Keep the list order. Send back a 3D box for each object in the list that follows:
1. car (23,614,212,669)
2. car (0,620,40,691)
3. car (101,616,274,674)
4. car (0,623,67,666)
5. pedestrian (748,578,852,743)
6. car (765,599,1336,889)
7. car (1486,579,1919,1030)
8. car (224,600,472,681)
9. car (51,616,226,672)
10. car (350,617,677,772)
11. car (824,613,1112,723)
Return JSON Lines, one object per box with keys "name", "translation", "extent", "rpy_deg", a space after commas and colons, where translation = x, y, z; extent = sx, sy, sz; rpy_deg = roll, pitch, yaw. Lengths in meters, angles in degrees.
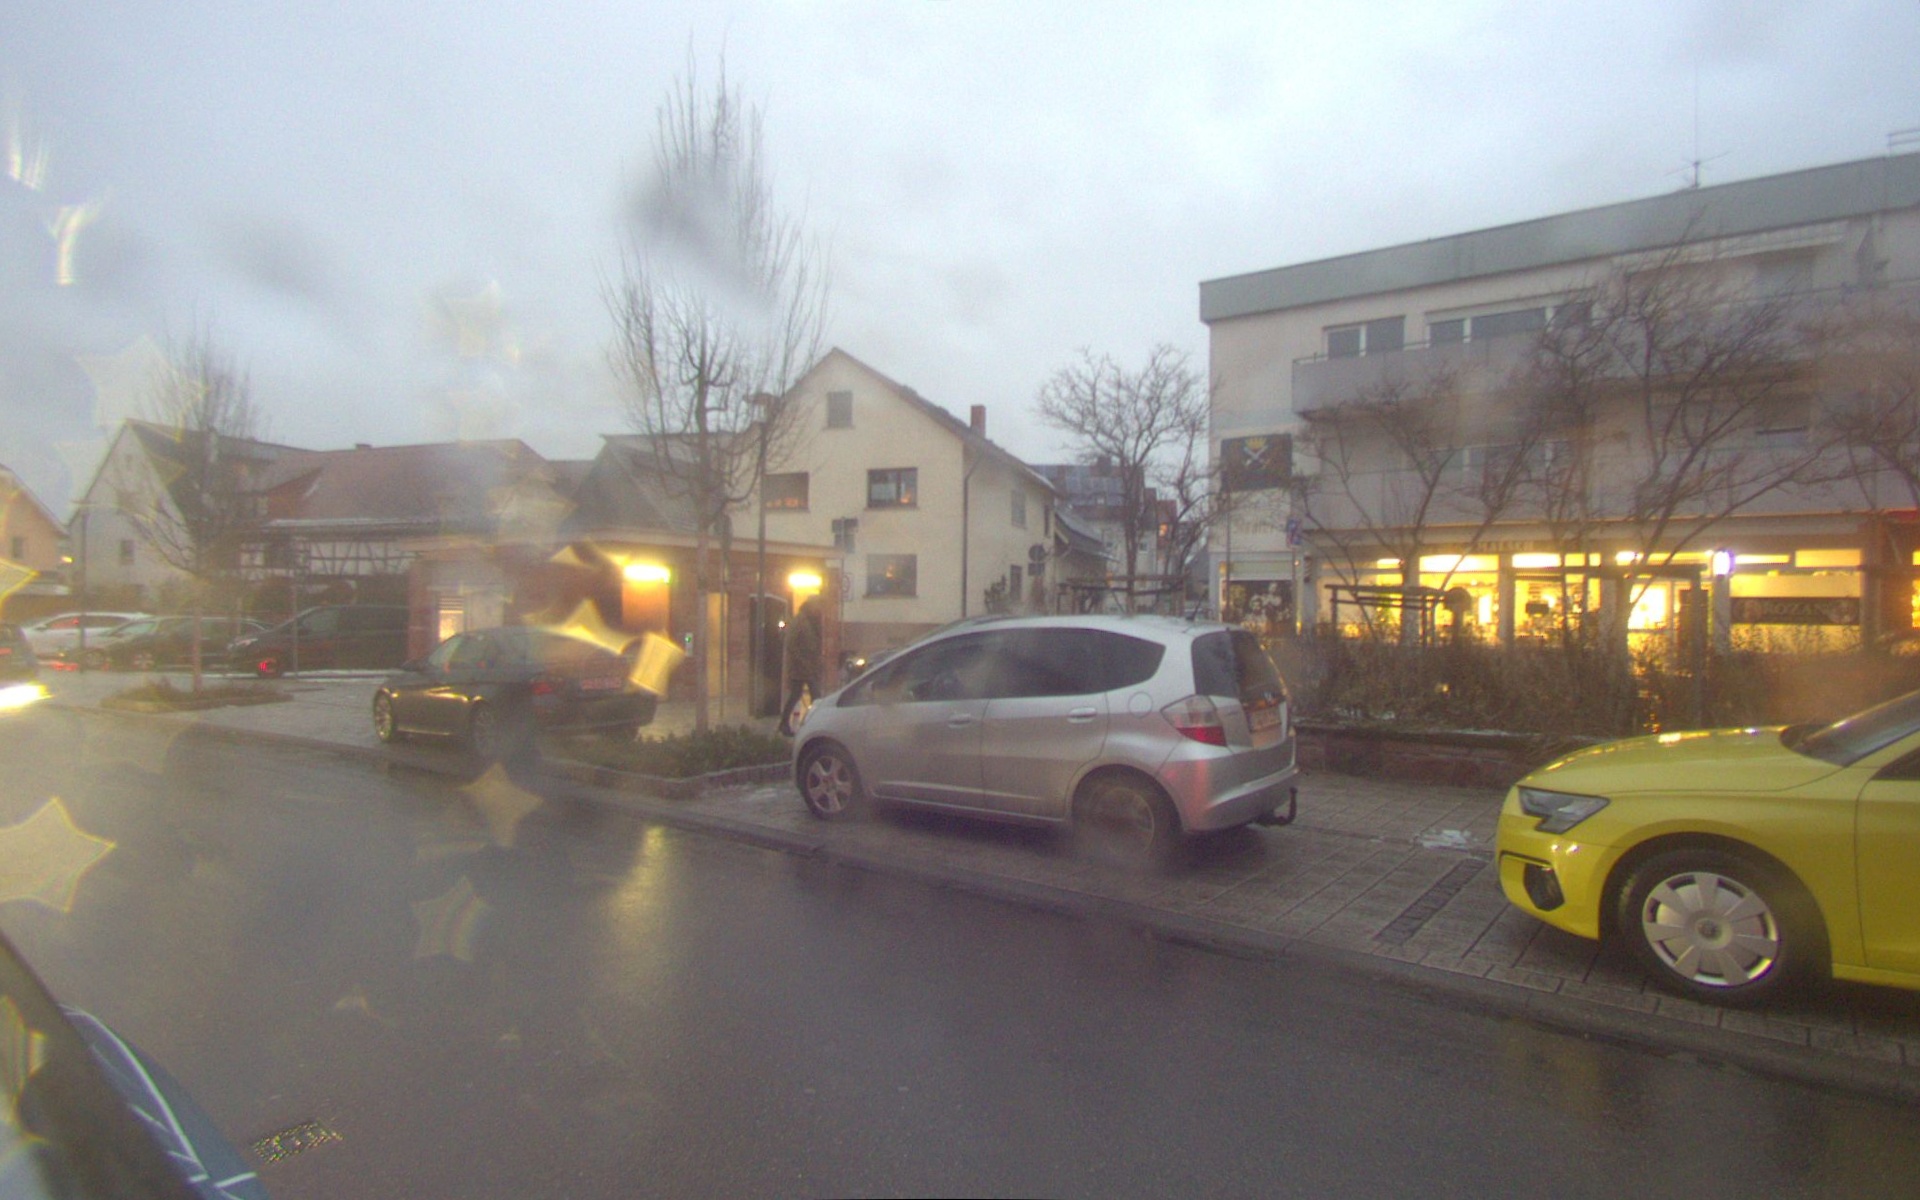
{"name": "car", "translation": [-27.242, 1.303, 32.892], "extent": [4.583, 1.666, 1.991], "rpy_deg": [1, -2, -41]}
{"name": "car", "translation": [-23.049, 1.260, 23.165], "extent": [3.658, 1.547, 1.822], "rpy_deg": [-1, -1, 28]}
{"name": "car", "translation": [-22.551, 1.276, 29.711], "extent": [3.934, 1.541, 2.004], "rpy_deg": [0, -1, -37]}
{"name": "car", "translation": [-33.946, 1.534, 35.324], "extent": [1.758, 1.470, 4.015], "rpy_deg": [-1, -2, 44]}
{"name": "pedestrian", "translation": [-1.932, 0.702, 12.189], "extent": [1.060, 1.881, 0.746], "rpy_deg": [-1, -2, 41]}
{"name": "car", "translation": [0.504, 0.793, 7.237], "extent": [3.768, 1.528, 1.676], "rpy_deg": [-1, 0, 38]}
{"name": "car", "translation": [4.455, 0.675, 3.538], "extent": [4.341, 1.527, 1.730], "rpy_deg": [-1, 0, 42]}
{"name": "car", "translation": [-15.803, 1.060, 26.361], "extent": [5.307, 1.900, 2.079], "rpy_deg": [2, -3, -34]}
{"name": "car", "translation": [-25.124, 1.345, 31.056], "extent": [4.049, 1.594, 1.723], "rpy_deg": [2, -3, -41]}
{"name": "car", "translation": [-5.421, 0.967, 12.020], "extent": [4.454, 1.483, 1.729], "rpy_deg": [-1, 0, 39]}
{"name": "car", "translation": [0.146, 0.994, 15.387], "extent": [4.018, 1.488, 1.745], "rpy_deg": [2, -3, -26]}
